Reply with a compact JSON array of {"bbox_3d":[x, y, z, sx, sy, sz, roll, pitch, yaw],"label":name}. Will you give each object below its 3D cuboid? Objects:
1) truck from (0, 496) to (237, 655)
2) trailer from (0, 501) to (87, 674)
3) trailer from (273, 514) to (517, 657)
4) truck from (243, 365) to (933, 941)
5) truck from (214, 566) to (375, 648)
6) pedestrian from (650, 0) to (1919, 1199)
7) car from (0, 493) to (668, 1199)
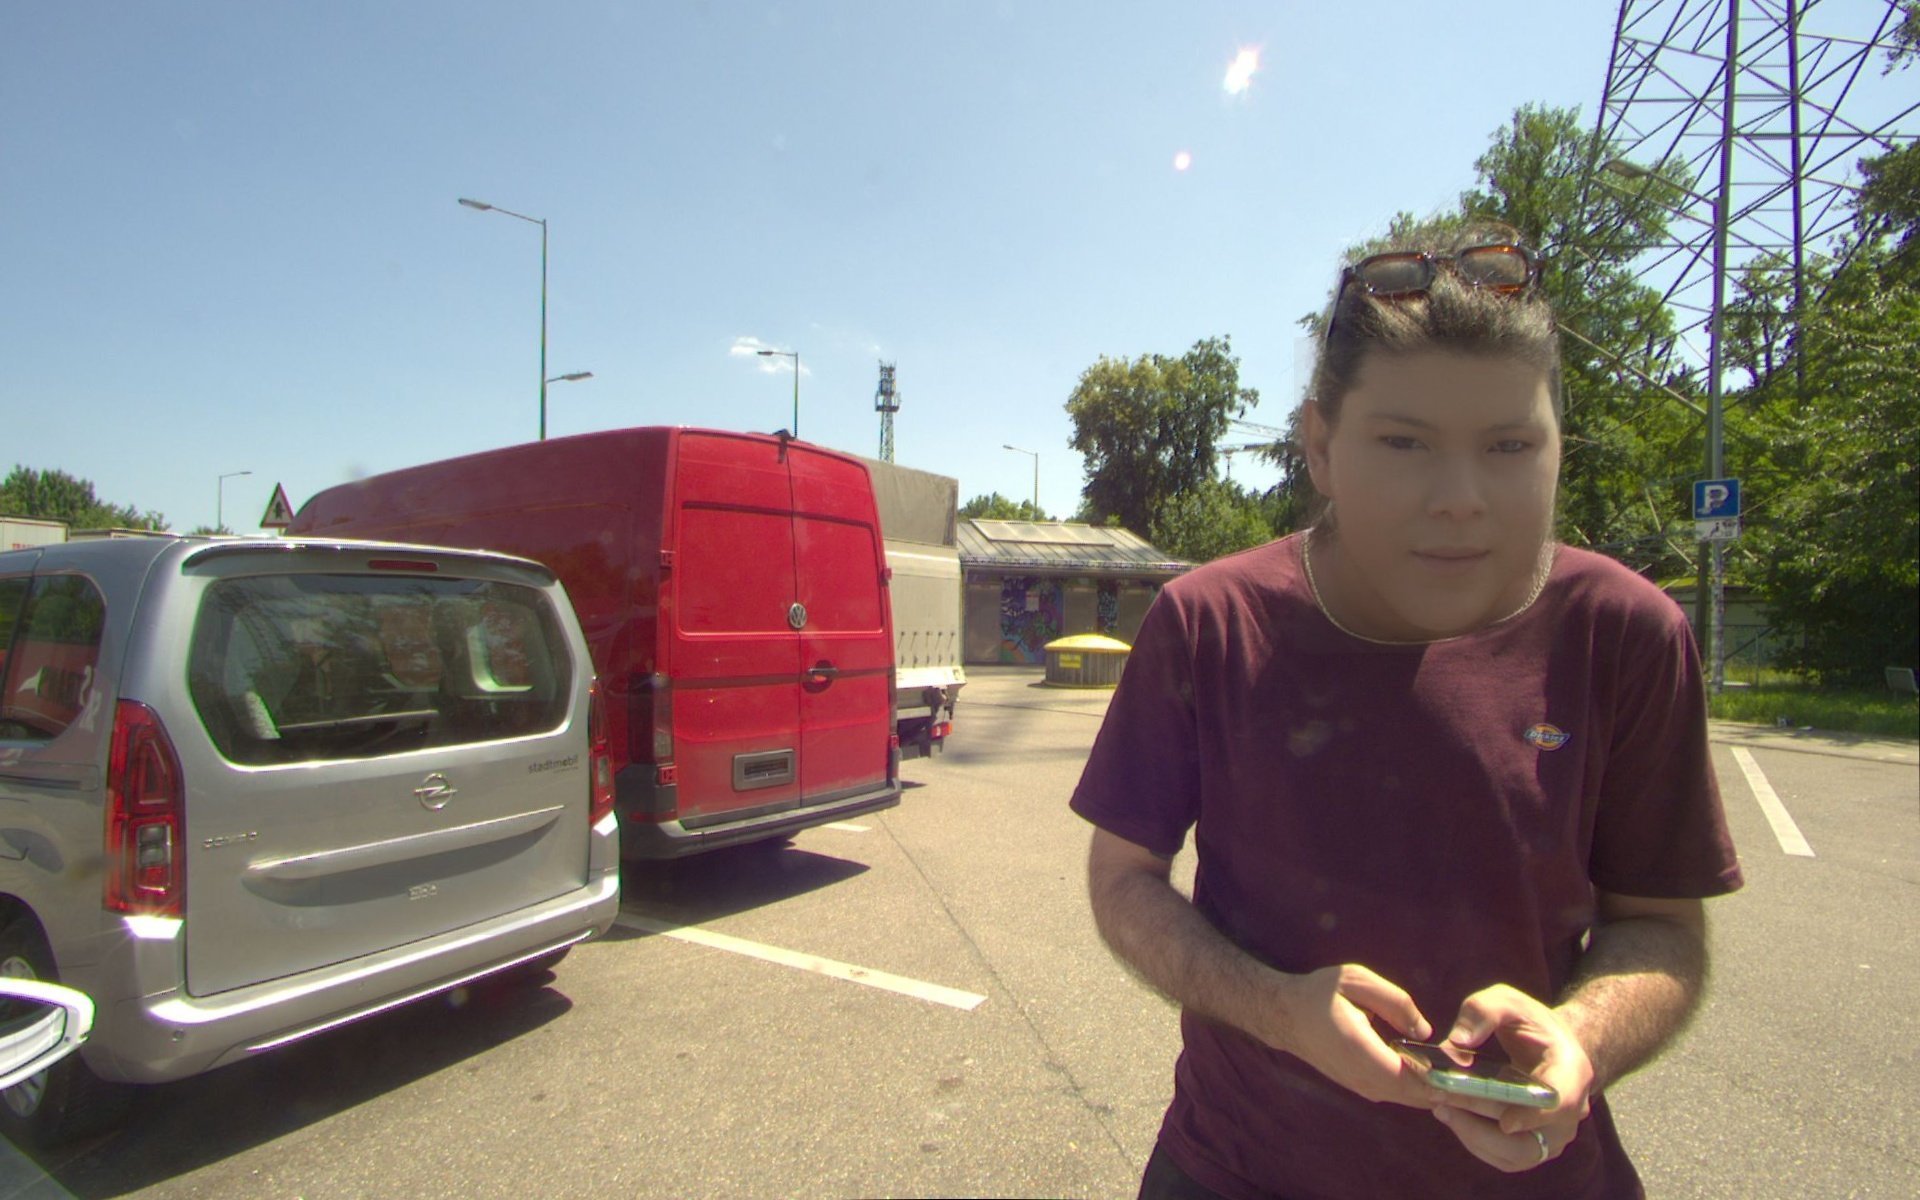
[{"bbox_3d":[-27.974,-0.618,31.800,14.316,4.175,2.901,0,-3,33],"label":"truck"},{"bbox_3d":[-28.797,-0.323,28.029,13.374,4.178,2.871,0,-1,33],"label":"trailer"},{"bbox_3d":[-19.081,-0.357,34.713,2.788,4.313,8.686,1,-1,6],"label":"trailer"},{"bbox_3d":[-2.862,0.267,6.999,5.233,2.658,1.987,0,-1,37],"label":"truck"},{"bbox_3d":[-30.711,0.327,46.071,8.407,3.482,3.019,0,-1,33],"label":"truck"},{"bbox_3d":[0.369,0.516,0.885,0.926,1.798,0.827,1,0,28],"label":"pedestrian"},{"bbox_3d":[-3.348,0.642,4.214,3.938,1.776,1.824,0,-1,29],"label":"car"}]
